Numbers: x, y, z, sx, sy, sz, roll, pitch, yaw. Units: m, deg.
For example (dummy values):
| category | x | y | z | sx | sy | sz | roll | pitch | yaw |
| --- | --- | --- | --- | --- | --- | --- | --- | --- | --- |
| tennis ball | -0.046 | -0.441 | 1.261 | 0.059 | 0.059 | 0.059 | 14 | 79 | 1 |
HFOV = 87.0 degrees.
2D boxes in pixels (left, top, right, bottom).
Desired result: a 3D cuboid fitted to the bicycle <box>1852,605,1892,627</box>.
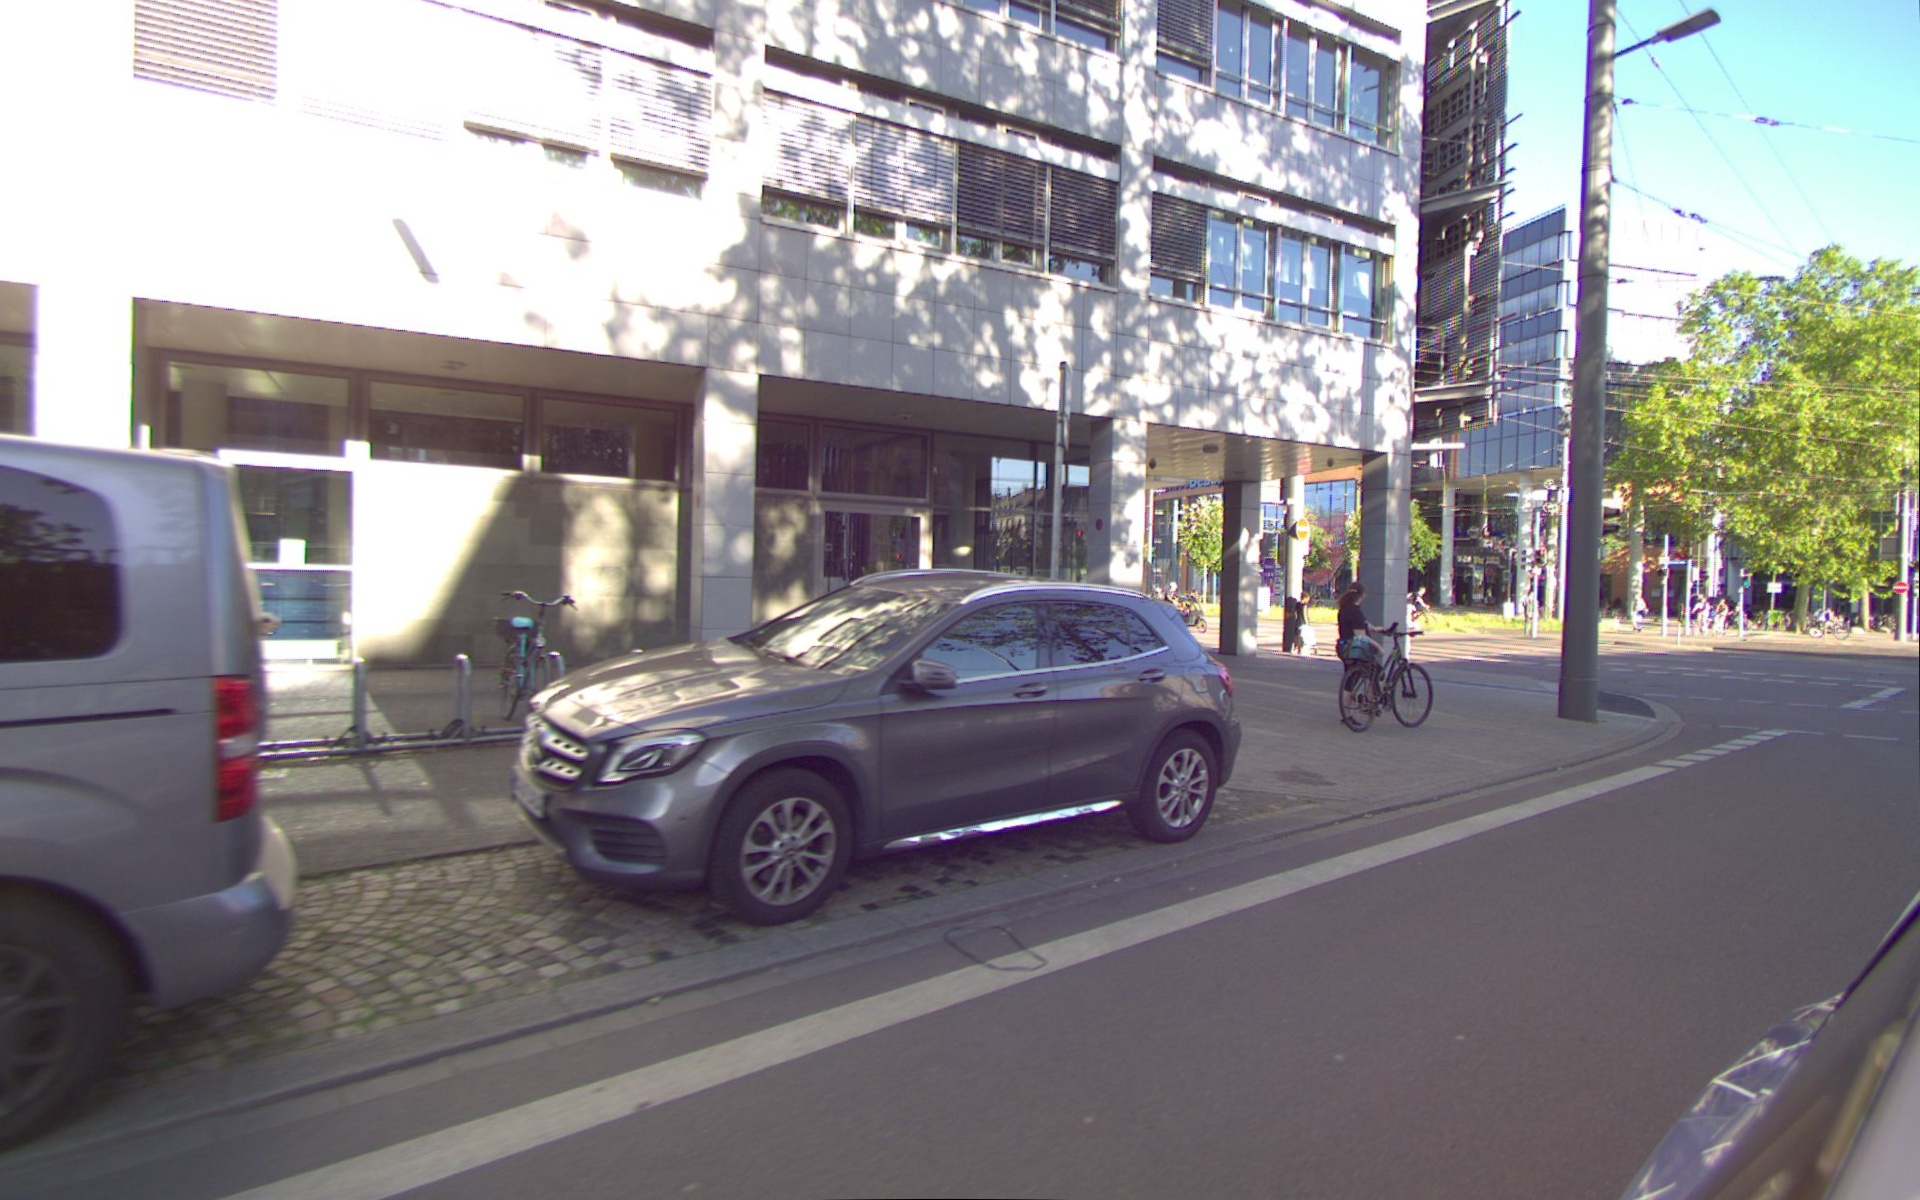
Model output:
| category | x | y | z | sx | sy | sz | roll | pitch | yaw |
| --- | --- | --- | --- | --- | --- | --- | --- | --- | --- |
| bicycle | 58.740 | 0.998 | 65.216 | 0.867 | 1.250 | 2.912 | 3 | 2 | 21 |

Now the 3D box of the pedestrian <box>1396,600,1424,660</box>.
| category | x | y | z | sx | sy | sz | roll | pitch | yaw |
| --- | --- | --- | --- | --- | --- | --- | --- | --- | --- |
| pedestrian | 11.027 | 0.722 | 24.811 | 0.539 | 1.419 | 0.634 | 2 | 1 | 20 |

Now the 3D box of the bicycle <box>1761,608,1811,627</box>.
| category | x | y | z | sx | sy | sz | roll | pitch | yaw |
| --- | --- | --- | --- | --- | --- | --- | --- | --- | --- |
| bicycle | 55.299 | 1.170 | 67.794 | 0.861 | 1.105 | 2.933 | 2 | 2 | 0 |

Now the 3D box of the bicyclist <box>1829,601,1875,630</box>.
| category | x | y | z | sx | sy | sz | roll | pitch | yaw |
| --- | --- | --- | --- | --- | --- | --- | --- | --- | --- |
| bicyclist | 45.447 | 0.783 | 51.581 | 1.024 | 1.398 | 1.564 | 1 | 1 | -37 |

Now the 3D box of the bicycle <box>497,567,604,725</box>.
| category | x | y | z | sx | sy | sz | roll | pitch | yaw |
| --- | --- | --- | --- | --- | --- | --- | --- | --- | --- |
| bicycle | -3.561 | 0.340 | 8.714 | 0.461 | 1.166 | 1.840 | 2 | 2 | -34 |

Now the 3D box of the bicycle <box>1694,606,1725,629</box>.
| category | x | y | z | sx | sy | sz | roll | pitch | yaw |
| --- | --- | --- | --- | --- | --- | --- | --- | --- | --- |
| bicycle | 33.990 | 0.783 | 45.895 | 1.599 | 1.034 | 0.517 | 0 | 1 | -28 |

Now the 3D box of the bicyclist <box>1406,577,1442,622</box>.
| category | x | y | z | sx | sy | sz | roll | pitch | yaw |
| --- | --- | --- | --- | --- | --- | --- | --- | --- | --- |
| bicyclist | 18.002 | -0.018 | 39.244 | 0.752 | 1.688 | 0.993 | 1 | 1 | -40 |

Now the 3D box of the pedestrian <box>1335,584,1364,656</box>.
| category | x | y | z | sx | sy | sz | roll | pitch | yaw |
| --- | --- | --- | --- | --- | --- | --- | --- | --- | --- |
| pedestrian | 9.632 | 0.477 | 25.046 | 0.574 | 1.729 | 0.634 | 2 | 1 | 20 |

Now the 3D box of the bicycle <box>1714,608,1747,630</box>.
| category | x | y | z | sx | sy | sz | roll | pitch | yaw |
| --- | --- | --- | --- | --- | --- | --- | --- | --- | --- |
| bicycle | 36.117 | 0.886 | 47.432 | 1.821 | 1.034 | 0.517 | 0 | 1 | -30 |

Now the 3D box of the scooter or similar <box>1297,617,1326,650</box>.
| category | x | y | z | sx | sy | sz | roll | pitch | yaw |
| --- | --- | --- | --- | --- | --- | --- | --- | --- | --- |
| scooter or similar | 8.836 | 0.840 | 25.472 | 0.651 | 0.800 | 0.614 | 2 | 0 | 18 |

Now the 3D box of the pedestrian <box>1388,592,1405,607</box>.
| category | x | y | z | sx | sy | sz | roll | pitch | yaw |
| --- | --- | --- | --- | --- | --- | --- | --- | --- | --- |
| pedestrian | 32.787 | -0.029 | 75.974 | 0.770 | 1.070 | 0.816 | 1 | 1 | -18 |

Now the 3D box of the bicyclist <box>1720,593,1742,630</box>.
| category | x | y | z | sx | sy | sz | roll | pitch | yaw |
| --- | --- | --- | --- | --- | --- | --- | --- | --- | --- |
| bicyclist | 36.172 | 0.535 | 47.491 | 0.730 | 1.716 | 0.570 | 1 | 1 | -30 |

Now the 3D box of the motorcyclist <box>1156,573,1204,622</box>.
| category | x | y | z | sx | sy | sz | roll | pitch | yaw |
| --- | --- | --- | --- | --- | --- | --- | --- | --- | --- |
| motorcyclist | 8.109 | -0.092 | 37.349 | 1.001 | 1.752 | 1.462 | 1 | 1 | -30 |

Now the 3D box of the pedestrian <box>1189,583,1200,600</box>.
| category | x | y | z | sx | sy | sz | roll | pitch | yaw |
| --- | --- | --- | --- | --- | --- | --- | --- | --- | --- |
| pedestrian | 22.396 | -0.860 | 96.651 | 0.693 | 1.589 | 0.624 | 1 | 1 | -18 |

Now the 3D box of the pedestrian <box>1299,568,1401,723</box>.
| category | x | y | z | sx | sy | sz | roll | pitch | yaw |
| --- | --- | --- | --- | --- | --- | --- | --- | --- | --- |
| pedestrian | 4.342 | 0.491 | 11.269 | 0.822 | 1.630 | 0.606 | 2 | 3 | -38 |

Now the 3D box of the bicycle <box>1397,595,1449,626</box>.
| category | x | y | z | sx | sy | sz | roll | pitch | yaw |
| --- | --- | --- | --- | --- | --- | --- | --- | --- | --- |
| bicycle | 17.917 | 0.401 | 39.164 | 0.633 | 1.121 | 1.683 | 1 | 1 | -40 |

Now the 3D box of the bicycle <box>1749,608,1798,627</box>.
| category | x | y | z | sx | sy | sz | roll | pitch | yaw |
| --- | --- | --- | --- | --- | --- | --- | --- | --- | --- |
| bicycle | 54.378 | 1.132 | 67.681 | 0.861 | 1.105 | 2.933 | 2 | 2 | 0 |

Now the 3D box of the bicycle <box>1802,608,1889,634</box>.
| category | x | y | z | sx | sy | sz | roll | pitch | yaw |
| --- | --- | --- | --- | --- | --- | --- | --- | --- | --- |
| bicycle | 45.272 | 1.042 | 51.787 | 1.024 | 1.147 | 3.180 | 1 | 1 | -37 |

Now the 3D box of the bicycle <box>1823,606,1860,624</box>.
| category | x | y | z | sx | sy | sz | roll | pitch | yaw |
| --- | --- | --- | --- | --- | --- | --- | --- | --- | --- |
| bicycle | 58.708 | 0.988 | 67.415 | 0.867 | 1.105 | 2.912 | 3 | 2 | 21 |

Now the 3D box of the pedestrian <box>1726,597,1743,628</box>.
| category | x | y | z | sx | sy | sz | roll | pitch | yaw |
| --- | --- | --- | --- | --- | --- | --- | --- | --- | --- |
| pedestrian | 40.732 | 0.681 | 53.209 | 0.647 | 1.602 | 0.489 | 1 | 1 | -38 |

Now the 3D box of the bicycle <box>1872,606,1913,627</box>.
| category | x | y | z | sx | sy | sz | roll | pitch | yaw |
| --- | --- | --- | --- | --- | --- | --- | --- | --- | --- |
| bicycle | 59.699 | 1.039 | 64.845 | 0.867 | 1.250 | 2.912 | 3 | 2 | 21 |

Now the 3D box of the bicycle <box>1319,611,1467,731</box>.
| category | x | y | z | sx | sy | sz | roll | pitch | yaw |
| --- | --- | --- | --- | --- | --- | --- | --- | --- | --- |
| bicycle | 4.790 | 0.755 | 11.147 | 1.814 | 1.177 | 0.613 | 2 | 3 | -38 |

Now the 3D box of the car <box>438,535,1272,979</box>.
| category | x | y | z | sx | sy | sz | roll | pitch | yaw |
| --- | --- | --- | --- | --- | --- | --- | --- | --- | --- |
| car | -0.384 | 0.553 | 5.759 | 4.332 | 1.591 | 1.866 | 1 | 4 | -37 |

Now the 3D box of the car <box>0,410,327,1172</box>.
| category | x | y | z | sx | sy | sz | roll | pitch | yaw |
| --- | --- | --- | --- | --- | --- | --- | --- | --- | --- |
| car | -4.274 | 0.398 | 2.060 | 4.837 | 1.865 | 1.927 | 0 | 4 | -40 |

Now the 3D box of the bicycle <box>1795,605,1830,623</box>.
| category | x | y | z | sx | sy | sz | roll | pitch | yaw |
| --- | --- | --- | --- | --- | --- | --- | --- | --- | --- |
| bicycle | 57.503 | 0.935 | 68.309 | 0.867 | 1.105 | 2.912 | 3 | 2 | 21 |

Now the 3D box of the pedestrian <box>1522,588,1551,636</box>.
| category | x | y | z | sx | sy | sz | roll | pitch | yaw |
| --- | --- | --- | --- | --- | --- | --- | --- | --- | --- |
| pedestrian | 22.747 | 0.458 | 39.899 | 0.869 | 1.846 | 0.677 | -1 | 1 | -36 |

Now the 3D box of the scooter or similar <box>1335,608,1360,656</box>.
| category | x | y | z | sx | sy | sz | roll | pitch | yaw |
| --- | --- | --- | --- | --- | --- | --- | --- | --- | --- |
| scooter or similar | 9.885 | 0.801 | 25.824 | 0.543 | 1.143 | 1.012 | 2 | 1 | 20 |

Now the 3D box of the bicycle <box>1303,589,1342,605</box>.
| category | x | y | z | sx | sy | sz | roll | pitch | yaw |
| --- | --- | --- | --- | --- | --- | --- | --- | --- | --- |
| bicycle | 28.178 | -0.247 | 78.714 | 0.818 | 1.127 | 3.056 | 1 | 1 | -28 |

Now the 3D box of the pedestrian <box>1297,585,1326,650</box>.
| category | x | y | z | sx | sy | sz | roll | pitch | yaw |
| --- | --- | --- | --- | --- | --- | --- | --- | --- | --- |
| pedestrian | 9.066 | 0.445 | 26.109 | 0.651 | 1.621 | 0.700 | 2 | 0 | 18 |

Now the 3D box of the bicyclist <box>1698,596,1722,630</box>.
| category | x | y | z | sx | sy | sz | roll | pitch | yaw |
| --- | --- | --- | --- | --- | --- | --- | --- | --- | --- |
| bicyclist | 34.032 | 0.577 | 45.909 | 0.730 | 1.521 | 0.571 | 1 | 1 | -28 |

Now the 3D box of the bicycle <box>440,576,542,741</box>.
| category | x | y | z | sx | sy | sz | roll | pitch | yaw |
| --- | --- | --- | --- | --- | --- | --- | --- | --- | --- |
| bicycle | -3.950 | 0.426 | 8.449 | 0.461 | 1.166 | 1.840 | 2 | 2 | -34 |

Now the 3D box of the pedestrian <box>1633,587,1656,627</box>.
| category | x | y | z | sx | sy | sz | roll | pitch | yaw |
| --- | --- | --- | --- | --- | --- | --- | --- | --- | --- |
| pedestrian | 32.862 | 0.335 | 48.609 | 0.688 | 1.860 | 0.516 | 2 | 0 | -6 |

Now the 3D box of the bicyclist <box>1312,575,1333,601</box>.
| category | x | y | z | sx | sy | sz | roll | pitch | yaw |
| --- | --- | --- | --- | --- | --- | --- | --- | --- | --- |
| bicyclist | 28.181 | -0.922 | 78.754 | 0.818 | 1.955 | 1.232 | 1 | 1 | -28 |

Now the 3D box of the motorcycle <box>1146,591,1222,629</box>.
| category | x | y | z | sx | sy | sz | roll | pitch | yaw |
| --- | --- | --- | --- | --- | --- | --- | --- | --- | --- |
| motorcycle | 8.190 | 0.342 | 37.168 | 0.967 | 1.247 | 2.947 | 1 | 1 | -30 |
